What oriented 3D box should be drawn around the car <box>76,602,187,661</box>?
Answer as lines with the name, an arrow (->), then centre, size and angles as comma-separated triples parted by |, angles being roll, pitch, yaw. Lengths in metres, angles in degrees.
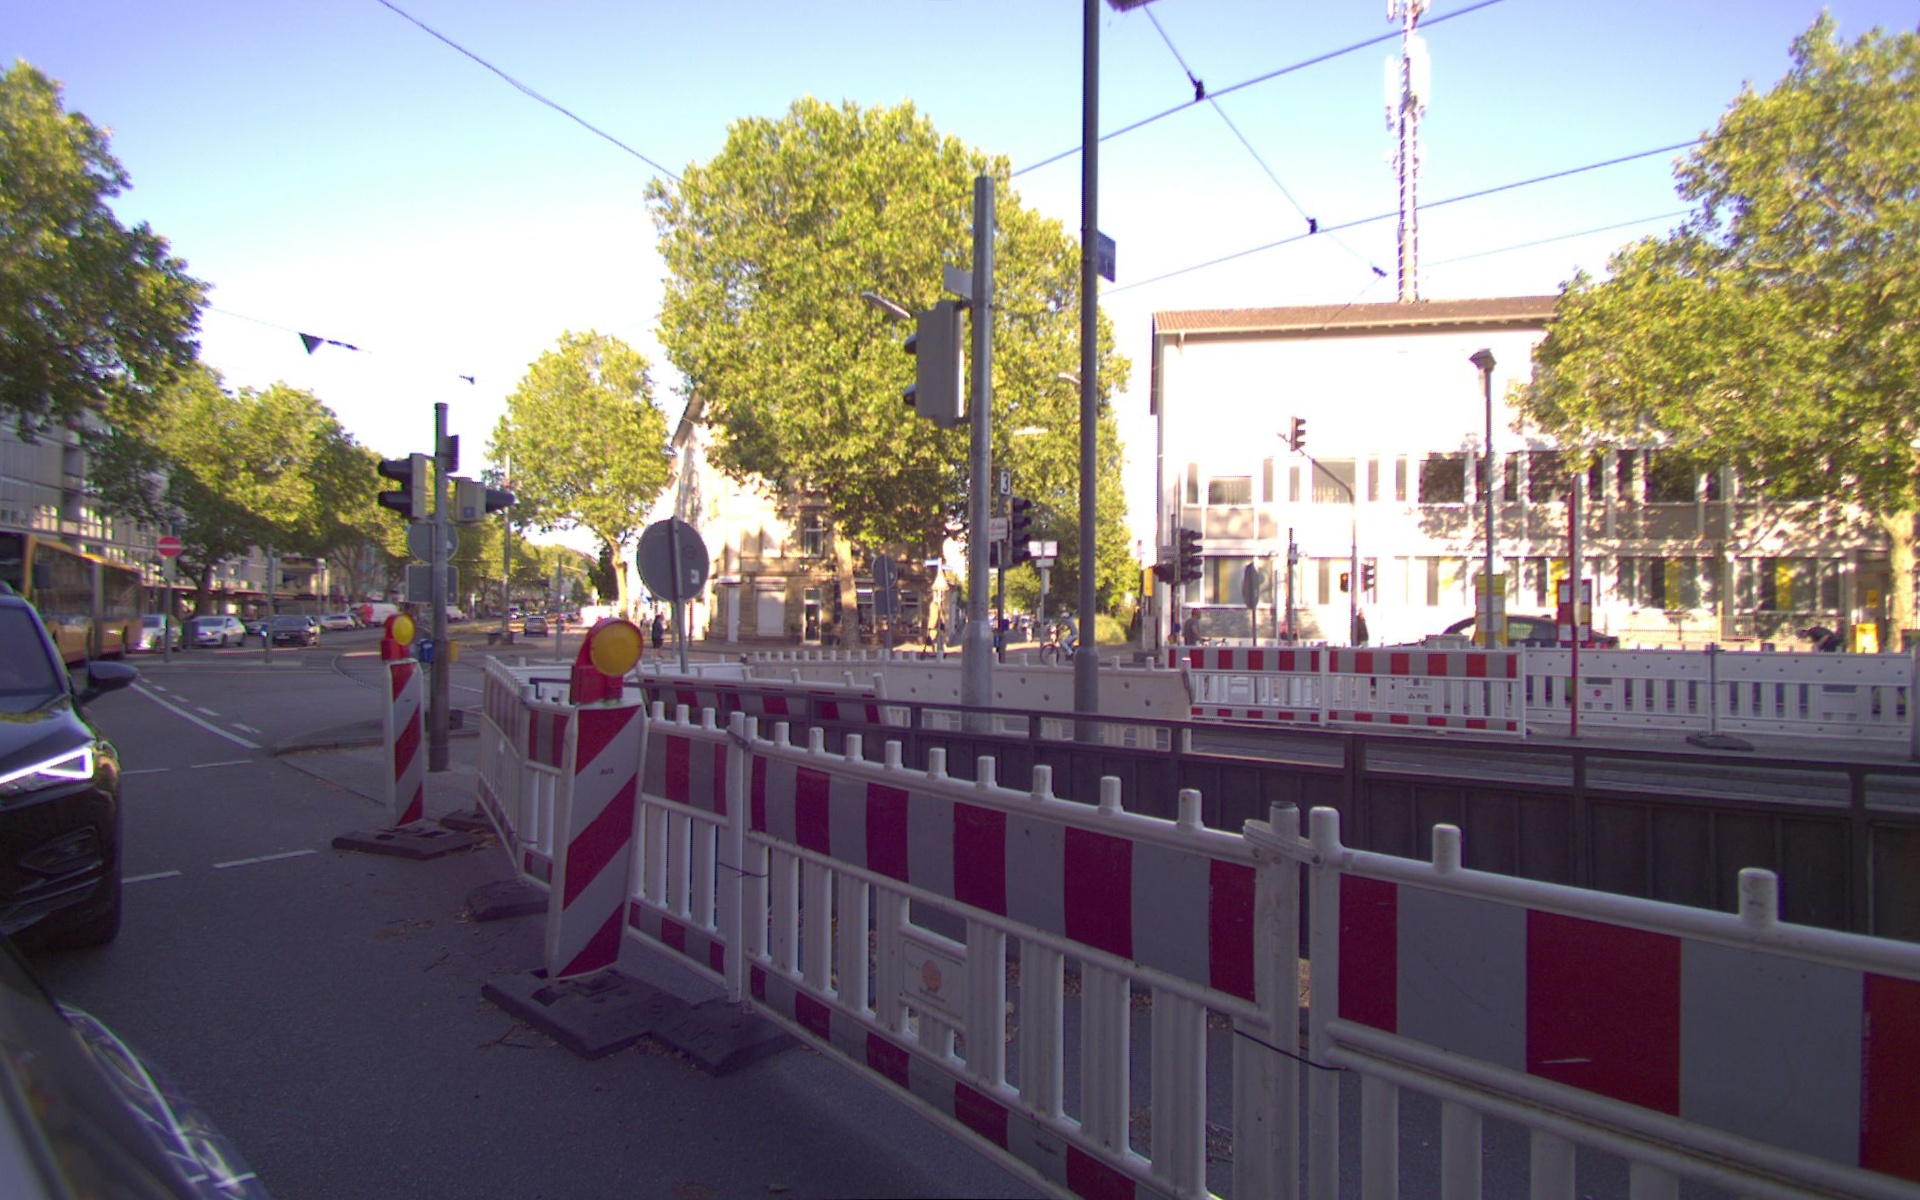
car -> -30.596, 1.152, 37.513 | 1.965, 2.029, 4.111 | 1, -1, -21

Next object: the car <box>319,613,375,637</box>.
car -> -54.671, 2.231, 90.258 | 3.938, 2.029, 2.002 | 1, -2, -42

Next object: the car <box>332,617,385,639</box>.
car -> -56.539, 2.620, 95.136 | 3.938, 2.029, 2.002 | 1, -2, -42

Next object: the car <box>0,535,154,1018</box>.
car -> -5.238, 0.641, 4.556 | 3.998, 1.719, 1.818 | -1, -2, 41

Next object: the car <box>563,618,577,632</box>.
car -> -54.051, 3.440, 140.253 | 1.661, 1.866, 4.013 | 1, -1, -20

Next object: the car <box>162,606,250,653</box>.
car -> -34.718, 1.347, 46.727 | 1.966, 2.029, 4.012 | 1, -1, -17

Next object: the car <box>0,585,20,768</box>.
car -> -10.745, 0.695, 9.808 | 4.073, 1.656, 1.973 | -1, -2, 41

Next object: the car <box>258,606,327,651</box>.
car -> -31.445, 1.341, 47.771 | 1.965, 2.029, 4.013 | 1, -1, -22

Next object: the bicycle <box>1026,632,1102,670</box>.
bicycle -> 3.422, 1.667, 33.533 | 2.463, 1.202, 0.841 | -1, -2, 40

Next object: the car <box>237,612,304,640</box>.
car -> -50.655, 1.938, 74.396 | 3.932, 2.029, 2.006 | 1, -2, -32

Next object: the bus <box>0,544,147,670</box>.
bus -> -25.750, 0.256, 28.944 | 2.676, 3.130, 8.622 | 1, -2, -31

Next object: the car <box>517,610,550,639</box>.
car -> -30.842, 1.771, 73.263 | 1.965, 2.029, 4.013 | 1, -1, -20

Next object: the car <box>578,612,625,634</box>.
car -> -34.249, 2.216, 96.812 | 1.990, 2.029, 3.963 | 0, -2, 27

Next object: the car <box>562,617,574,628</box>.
car -> -63.478, 3.616, 163.942 | 1.661, 1.761, 4.013 | 1, -1, -20

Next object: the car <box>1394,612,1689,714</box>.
car -> 10.731, 1.081, 18.845 | 4.552, 1.674, 1.974 | -1, -2, 38

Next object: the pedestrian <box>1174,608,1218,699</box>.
pedestrian -> 4.654, 1.040, 19.973 | 0.545, 1.760, 0.693 | 1, -2, -24

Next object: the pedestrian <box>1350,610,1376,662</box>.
pedestrian -> 12.163, 1.083, 30.533 | 0.649, 1.564, 0.563 | -1, -2, 28

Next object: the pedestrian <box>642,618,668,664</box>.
pedestrian -> -10.424, 1.404, 34.607 | 0.594, 1.545, 0.746 | 1, -2, -38

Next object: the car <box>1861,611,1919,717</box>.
car -> 16.821, 1.008, 15.762 | 3.994, 1.674, 1.974 | -1, -2, 38

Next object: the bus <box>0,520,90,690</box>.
bus -> -20.854, 0.153, 21.661 | 2.678, 3.130, 8.641 | 1, -2, -36

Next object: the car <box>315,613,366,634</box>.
car -> -60.097, 2.284, 98.193 | 3.938, 2.029, 2.002 | 1, -2, -42

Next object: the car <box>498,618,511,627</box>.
car -> -83.363, 4.115, 185.152 | 1.809, 1.715, 4.143 | 1, -2, -19

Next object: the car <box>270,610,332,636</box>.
car -> -53.603, 1.862, 82.376 | 3.938, 2.029, 2.002 | 1, -2, -42

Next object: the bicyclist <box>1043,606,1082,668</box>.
bicyclist -> 3.410, 1.221, 33.550 | 0.983, 2.029, 0.844 | -1, -2, 40

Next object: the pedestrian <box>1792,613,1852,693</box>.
pedestrian -> 20.323, 1.224, 23.880 | 0.923, 1.847, 0.693 | -1, -2, 28
